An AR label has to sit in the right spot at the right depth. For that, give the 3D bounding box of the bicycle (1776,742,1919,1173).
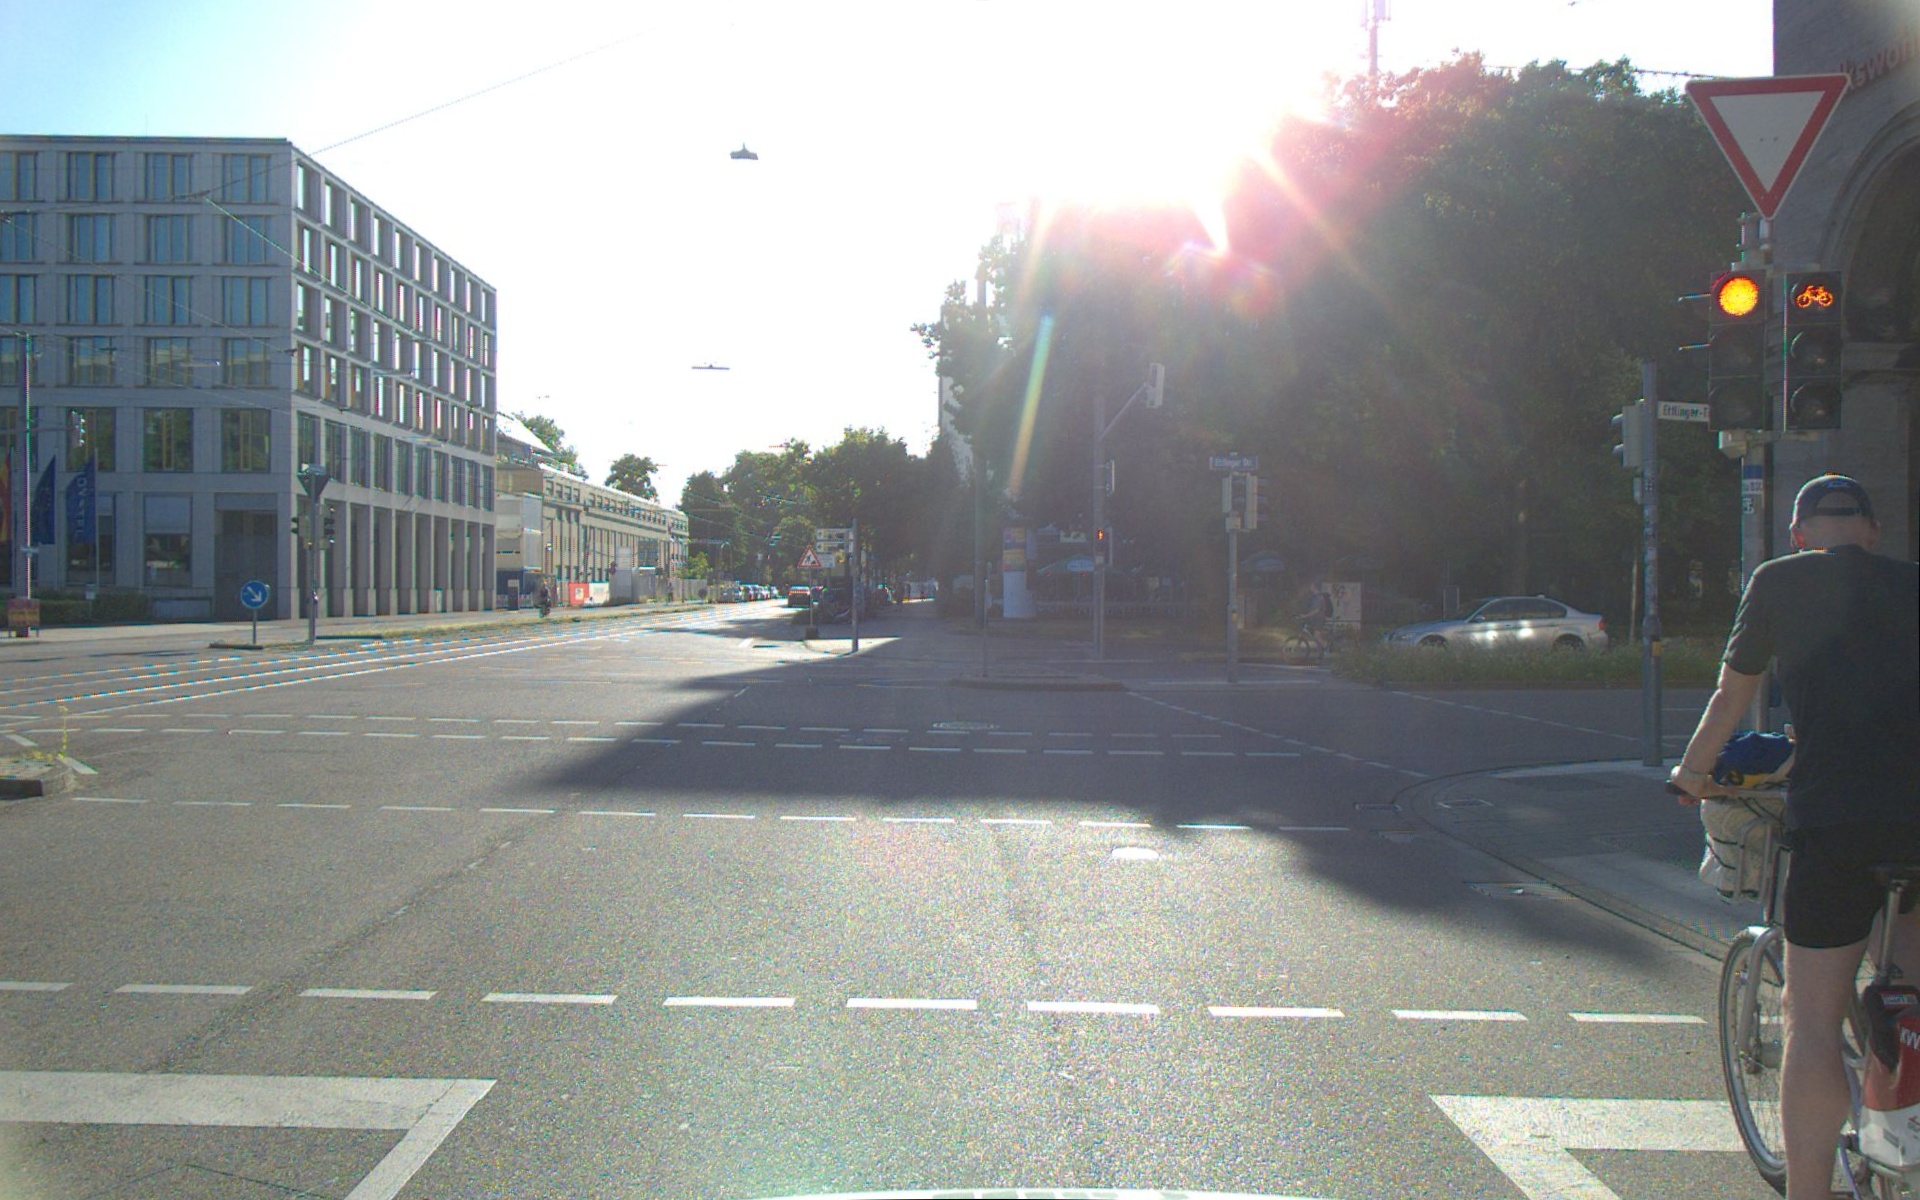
[{"bbox_3d":[2.864,1.003,4.342,0.523,1.096,1.750,1,0,-2],"label":"bicycle"}]

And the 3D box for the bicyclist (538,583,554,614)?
[{"bbox_3d":[-18.900,-0.074,75.501,0.584,1.401,0.637,1,-1,-1],"label":"bicyclist"}]

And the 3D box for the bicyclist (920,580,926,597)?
[{"bbox_3d":[-3.684,-1.157,165.264,0.558,1.721,0.699,0,0,-1],"label":"bicyclist"}]

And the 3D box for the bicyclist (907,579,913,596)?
[{"bbox_3d":[-4.973,-1.256,164.630,0.558,1.721,0.699,0,0,-1],"label":"bicyclist"}]

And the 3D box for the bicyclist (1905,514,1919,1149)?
[{"bbox_3d":[2.889,0.630,4.234,0.546,1.721,0.640,1,0,-2],"label":"bicyclist"}]

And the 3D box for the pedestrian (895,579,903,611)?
[{"bbox_3d":[-3.622,-0.304,97.631,0.454,1.845,0.502,0,0,-5],"label":"pedestrian"}]

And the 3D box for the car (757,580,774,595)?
[{"bbox_3d":[-22.843,-1.444,194.363,1.659,1.748,4.244,1,0,-4],"label":"car"}]

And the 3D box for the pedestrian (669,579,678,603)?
[{"bbox_3d":[-24.974,-0.795,144.370,0.660,2.049,0.751,1,-1,-3],"label":"pedestrian"}]

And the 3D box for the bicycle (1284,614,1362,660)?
[{"bbox_3d":[7.981,0.809,36.409,1.631,0.980,0.534,0,0,5],"label":"bicycle"}]

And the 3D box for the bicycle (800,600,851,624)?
[{"bbox_3d":[-5.489,0.505,67.387,1.976,0.907,0.650,-2,-1,27],"label":"bicycle"}]

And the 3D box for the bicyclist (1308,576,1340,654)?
[{"bbox_3d":[8.013,0.322,36.408,0.630,1.712,0.507,0,0,5],"label":"bicyclist"}]

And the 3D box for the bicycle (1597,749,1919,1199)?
[{"bbox_3d":[2.077,0.983,3.894,0.505,1.096,1.728,1,0,1],"label":"bicycle"}]

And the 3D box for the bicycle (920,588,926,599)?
[{"bbox_3d":[-3.685,-0.697,165.280,0.563,1.096,1.830,0,0,-1],"label":"bicycle"}]

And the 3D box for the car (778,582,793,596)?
[{"bbox_3d":[-22.437,-1.420,212.818,1.659,1.748,4.244,1,0,-4],"label":"car"}]

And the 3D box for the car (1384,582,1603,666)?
[{"bbox_3d":[10.774,0.477,33.567,3.912,1.639,1.650,0,0,-1],"label":"car"}]

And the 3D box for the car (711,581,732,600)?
[{"bbox_3d":[-22.481,-0.905,156.114,1.659,1.748,4.244,1,0,-4],"label":"car"}]

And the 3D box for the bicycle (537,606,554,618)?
[{"bbox_3d":[-18.906,0.559,75.491,0.491,0.524,1.257,1,0,-2],"label":"bicycle"}]

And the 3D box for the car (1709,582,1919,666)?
[{"bbox_3d":[17.481,0.464,33.622,3.770,1.639,1.650,0,0,-1],"label":"car"}]

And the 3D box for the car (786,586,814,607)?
[{"bbox_3d":[-11.655,-0.222,120.768,1.626,1.481,4.431,1,0,-1],"label":"car"}]

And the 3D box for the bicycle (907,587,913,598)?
[{"bbox_3d":[-4.966,-0.717,164.662,0.563,1.096,1.830,0,0,-1],"label":"bicycle"}]

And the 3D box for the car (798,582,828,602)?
[{"bbox_3d":[-12.554,-0.699,141.690,1.853,1.592,4.810,3,1,3],"label":"car"}]

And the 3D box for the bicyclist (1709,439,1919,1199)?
[{"bbox_3d":[2.096,0.581,3.736,0.547,1.830,0.550,1,0,1],"label":"bicyclist"}]
